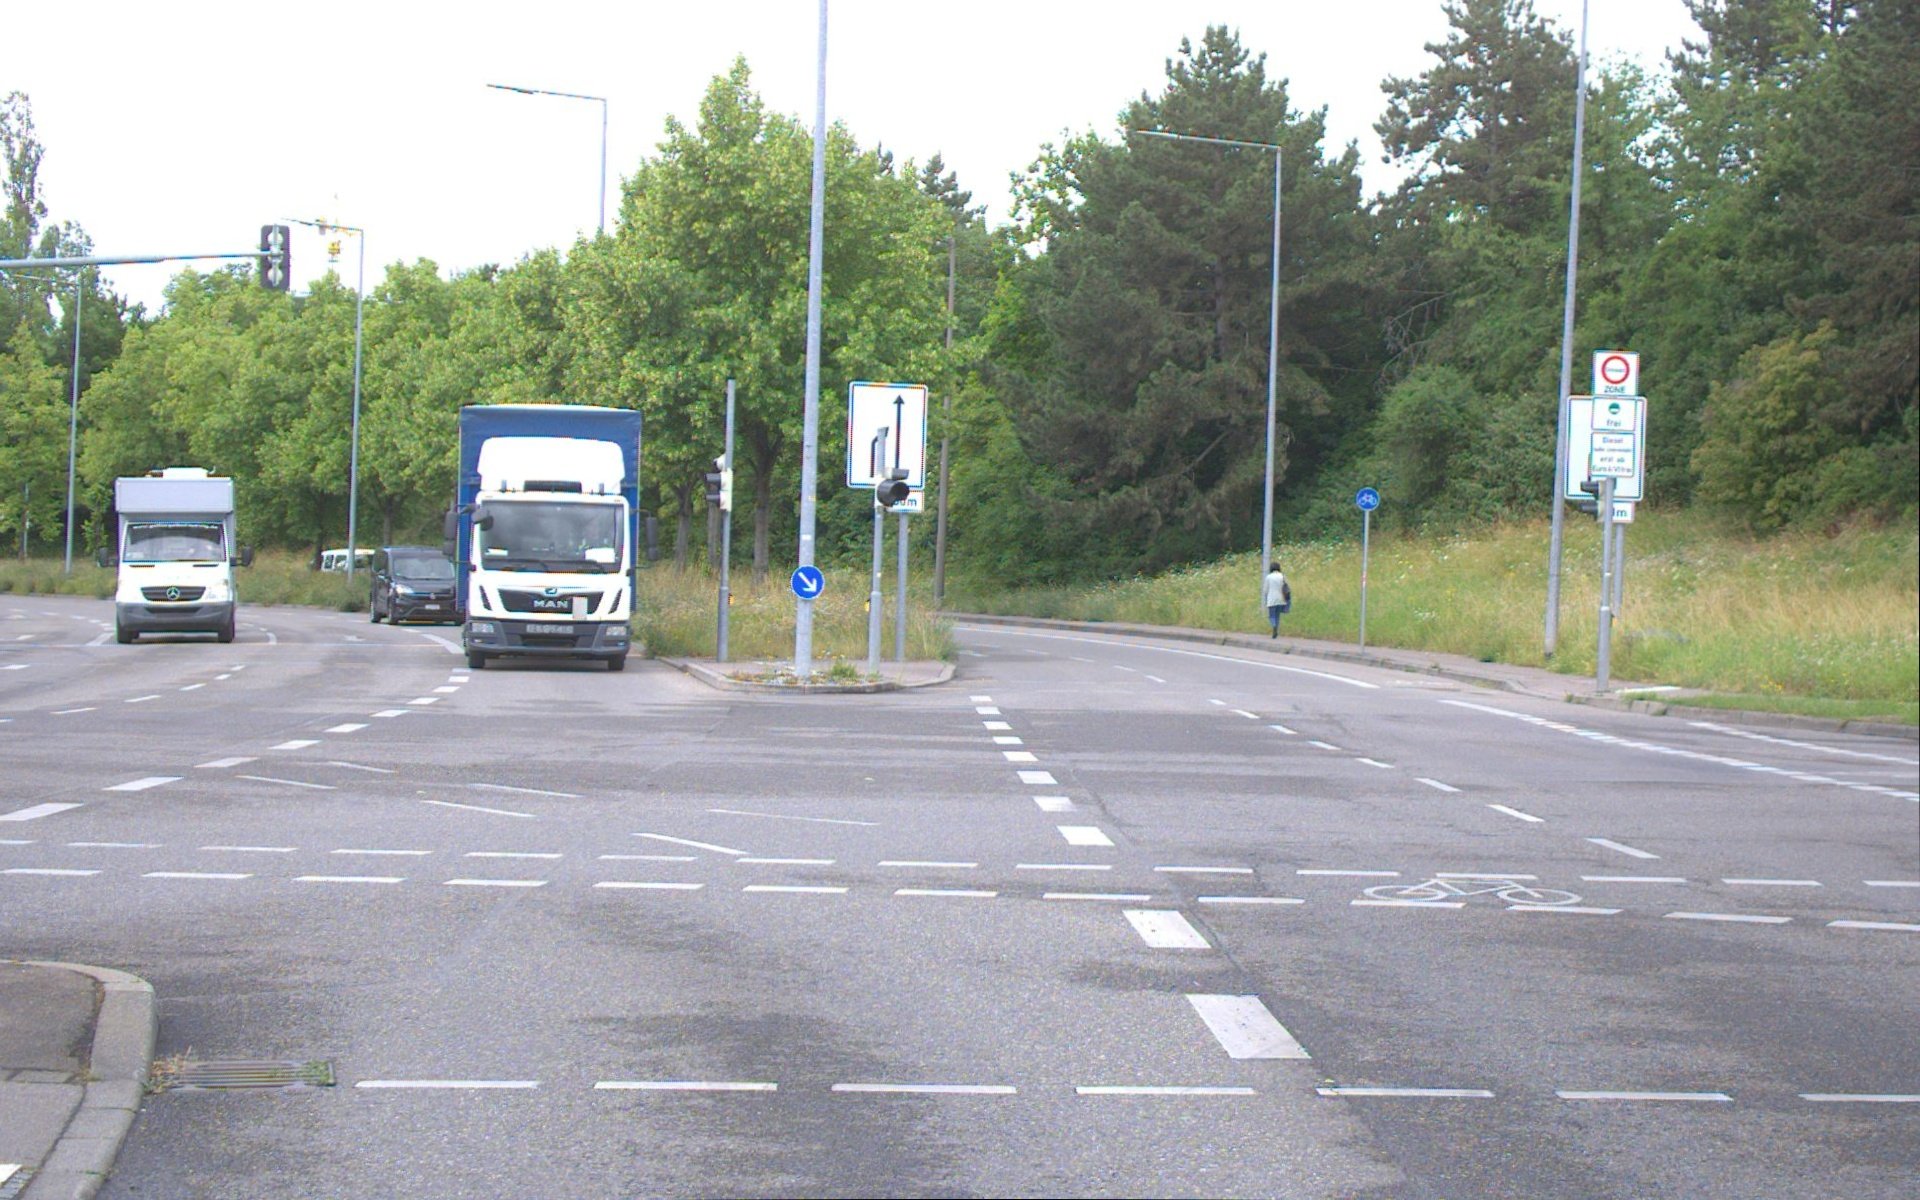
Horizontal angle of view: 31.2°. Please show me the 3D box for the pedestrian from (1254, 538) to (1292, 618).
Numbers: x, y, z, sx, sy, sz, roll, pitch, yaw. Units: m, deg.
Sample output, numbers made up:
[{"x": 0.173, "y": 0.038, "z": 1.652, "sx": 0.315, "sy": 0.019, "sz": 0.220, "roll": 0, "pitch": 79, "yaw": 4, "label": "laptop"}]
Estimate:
[{"x": 6.744, "y": -0.472, "z": 74.136, "sx": 0.739, "sy": 1.711, "sz": 0.625, "roll": 1, "pitch": 1, "yaw": -1, "label": "pedestrian"}]

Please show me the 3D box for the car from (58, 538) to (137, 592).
[{"x": -29.622, "y": -1.220, "z": 118.053, "sx": 1.993, "sy": 1.777, "sz": 4.001, "roll": 0, "pitch": 1, "yaw": -23, "label": "car"}]

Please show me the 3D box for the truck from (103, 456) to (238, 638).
[{"x": -14.063, "y": -0.955, "z": 61.472, "sx": 2.104, "sy": 3.000, "sz": 6.275, "roll": -3, "pitch": 1, "yaw": -12, "label": "truck"}]

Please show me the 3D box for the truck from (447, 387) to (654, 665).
[{"x": -6.076, "y": -1.086, "z": 51.401, "sx": 2.778, "sy": 3.791, "sz": 8.391, "roll": 1, "pitch": 1, "yaw": -6, "label": "truck"}]

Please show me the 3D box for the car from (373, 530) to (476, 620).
[{"x": -12.624, "y": -0.614, "z": 80.854, "sx": 1.993, "sy": 2.007, "sz": 4.610, "roll": 1, "pitch": 1, "yaw": -14, "label": "car"}]

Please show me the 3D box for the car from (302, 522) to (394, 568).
[{"x": -23.669, "y": -2.129, "z": 132.803, "sx": 1.994, "sy": 1.722, "sz": 3.727, "roll": 0, "pitch": 1, "yaw": -37, "label": "car"}]
